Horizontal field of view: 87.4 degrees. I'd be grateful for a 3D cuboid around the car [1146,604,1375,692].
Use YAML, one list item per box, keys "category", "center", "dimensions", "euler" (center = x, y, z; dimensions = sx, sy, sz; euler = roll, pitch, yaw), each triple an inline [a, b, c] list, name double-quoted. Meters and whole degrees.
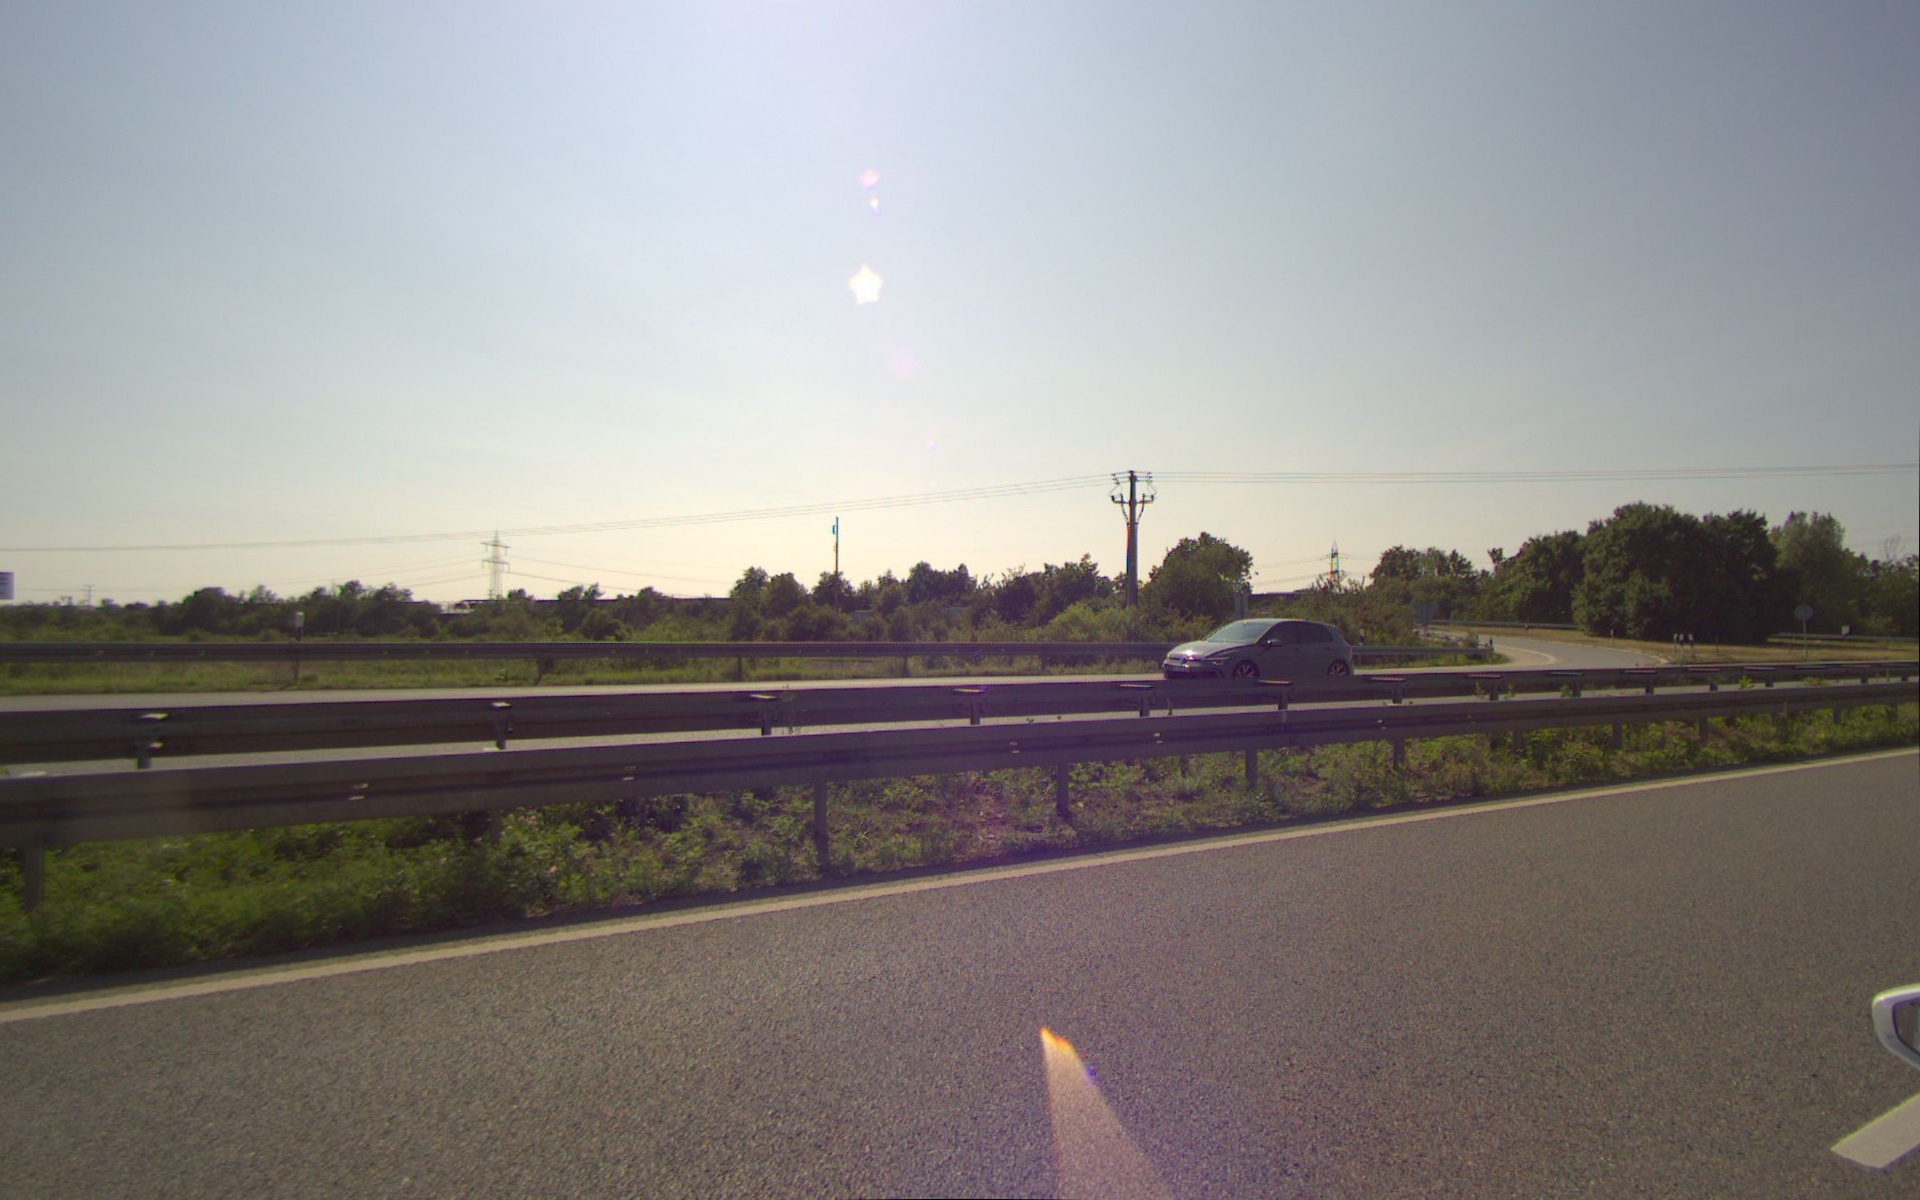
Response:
- category: "car"
  center: [6.066, 0.920, 20.121]
  dimensions: [4.565, 1.505, 1.692]
  euler: [1, 2, -30]
